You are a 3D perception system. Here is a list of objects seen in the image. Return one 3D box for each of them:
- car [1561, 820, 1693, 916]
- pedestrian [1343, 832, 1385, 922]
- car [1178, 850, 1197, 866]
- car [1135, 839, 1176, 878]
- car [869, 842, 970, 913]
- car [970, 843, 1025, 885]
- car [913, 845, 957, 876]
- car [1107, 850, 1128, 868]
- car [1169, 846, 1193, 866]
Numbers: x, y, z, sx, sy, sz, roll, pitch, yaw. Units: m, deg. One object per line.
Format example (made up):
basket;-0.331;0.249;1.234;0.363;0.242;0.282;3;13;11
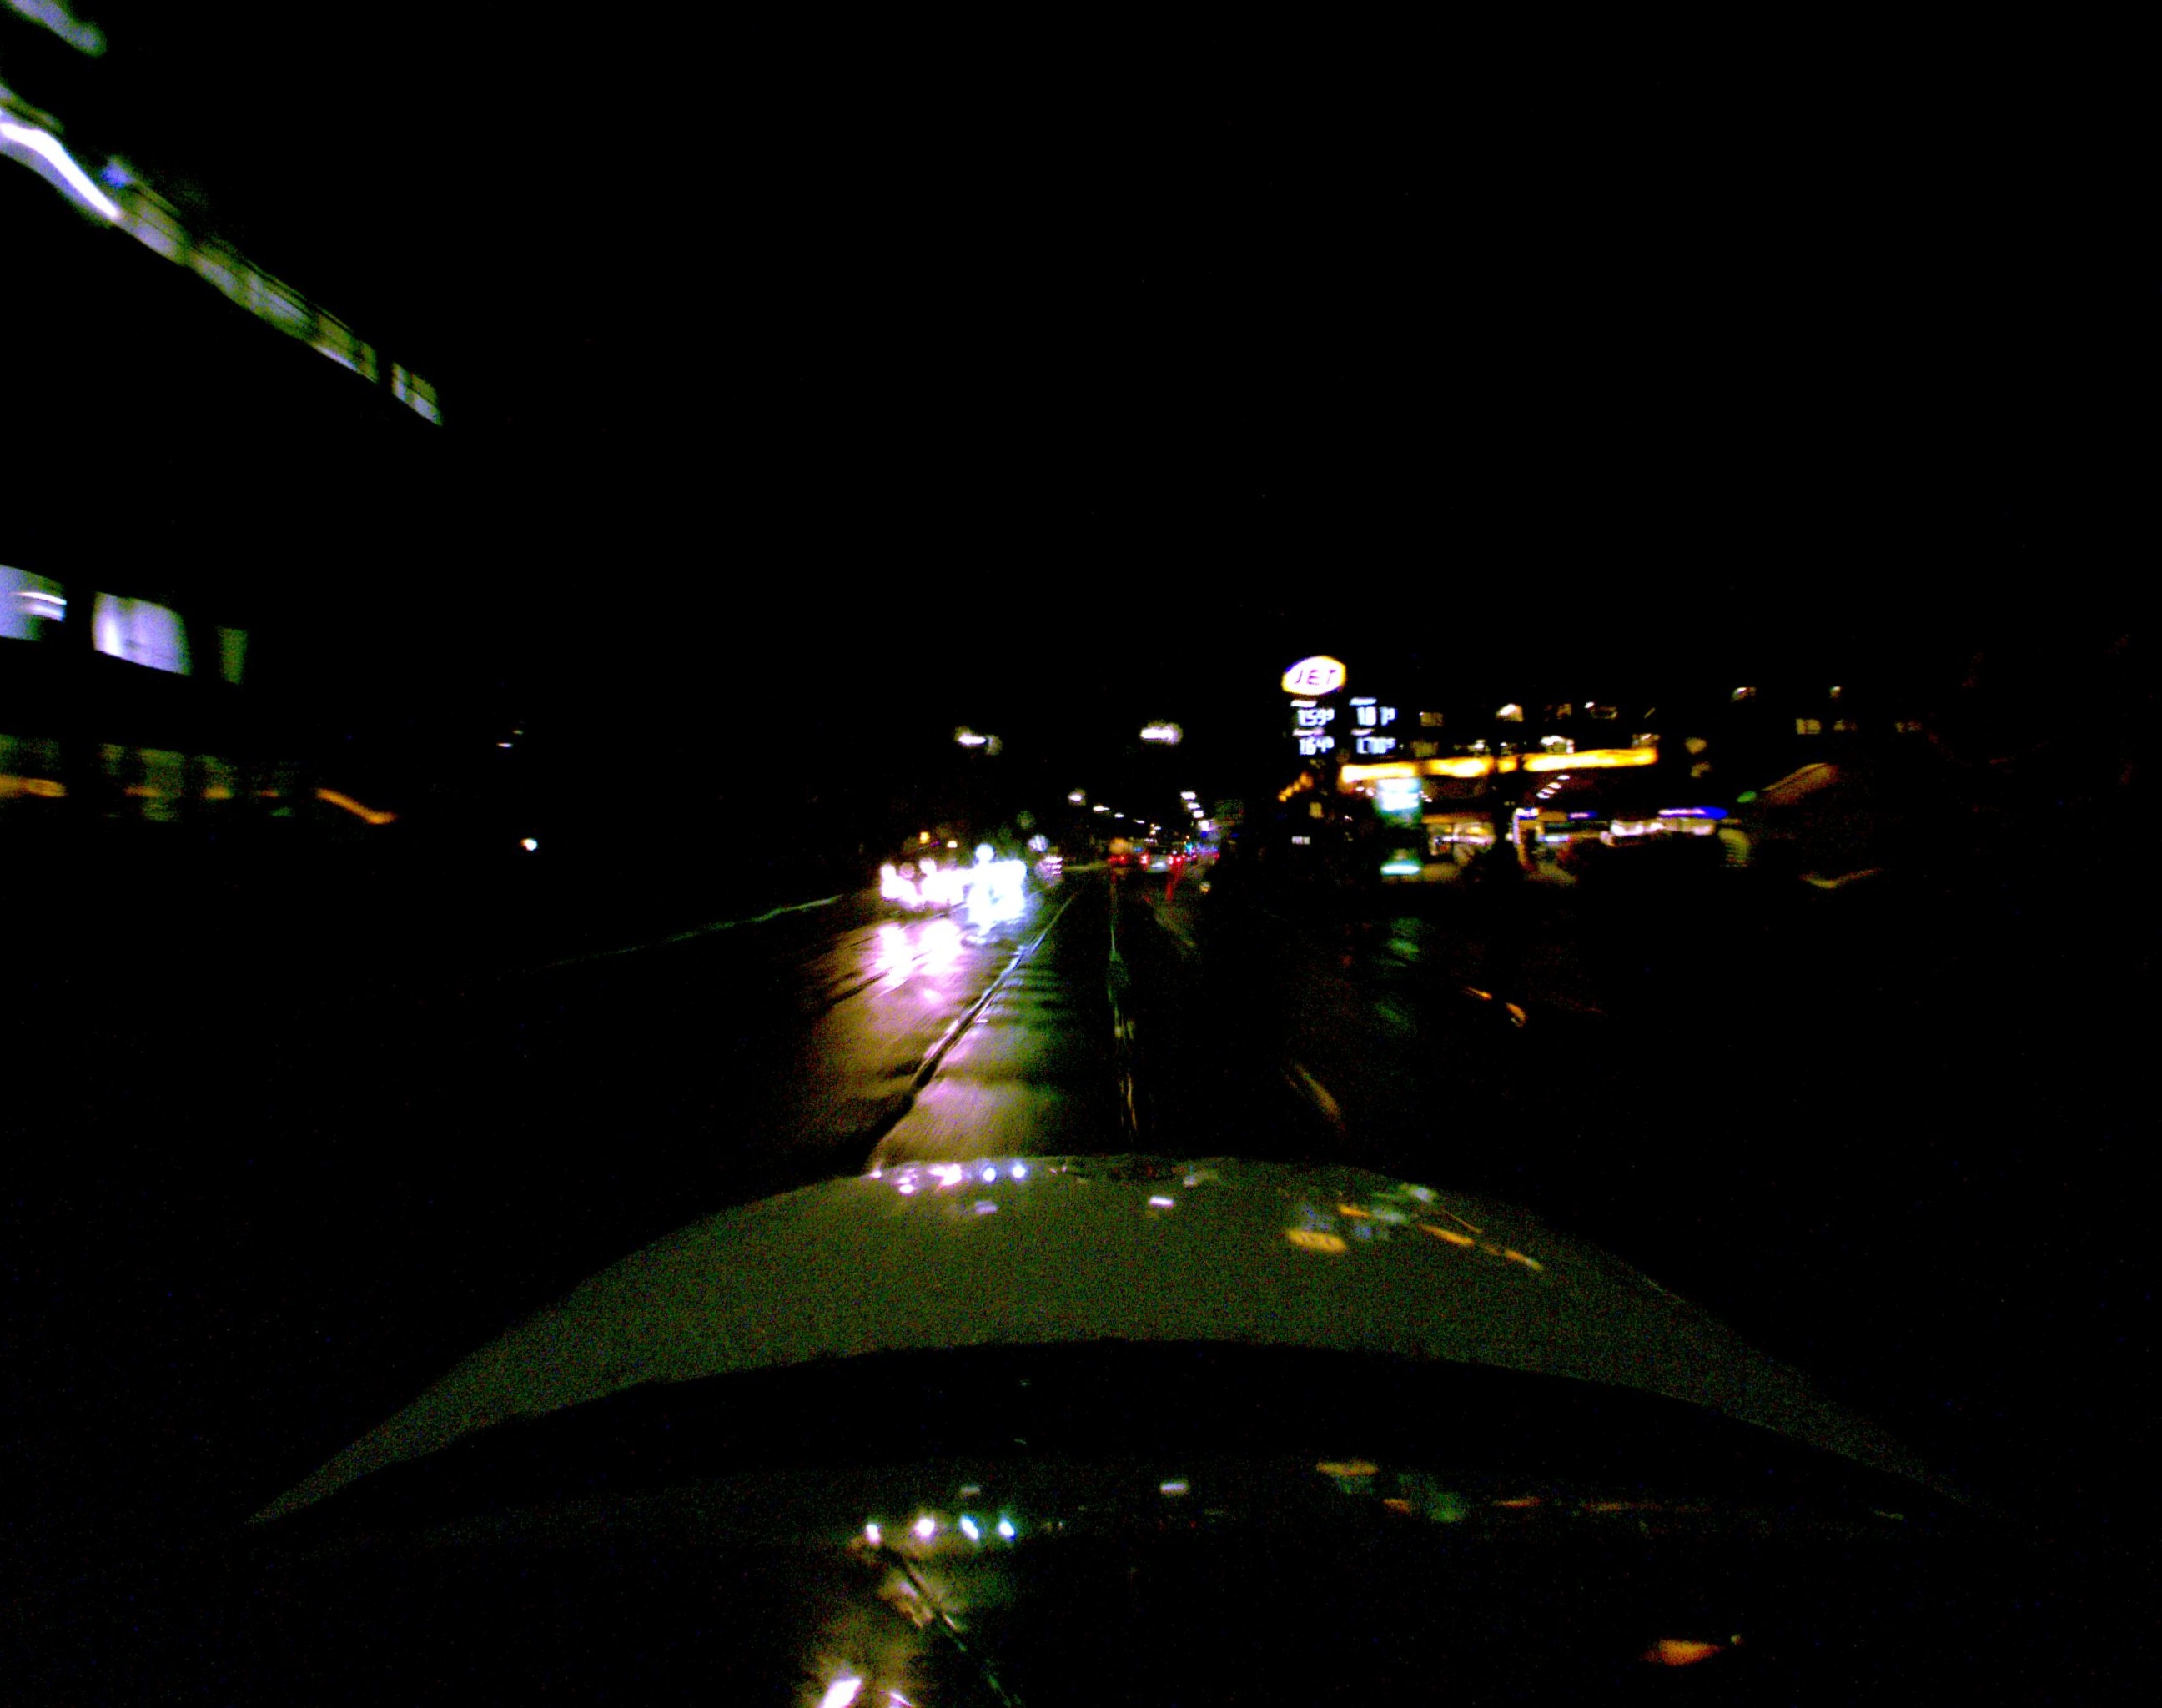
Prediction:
car;11.270;0.240;16.684;2.004;1.700;4.148;0;0;37
pedestrian;5.771;0.459;16.619;0.771;1.776;0.697;0;0;19
car;13.461;0.467;103.046;1.986;2.013;4.001;0;0;1
car;4.663;0.261;51.565;2.236;2.361;4.394;0;0;1
car;-4.225;0.572;21.960;1.988;1.724;4.074;0;0;-1
car;-4.036;0.480;40.142;2.313;1.932;4.961;0;0;-1
car;-9.755;0.431;54.704;1.985;2.013;4.003;0;0;3
car;3.623;0.487;80.940;1.986;1.816;4.001;0;0;1
car;9.324;0.162;76.218;2.007;1.815;4.005;0;0;4
